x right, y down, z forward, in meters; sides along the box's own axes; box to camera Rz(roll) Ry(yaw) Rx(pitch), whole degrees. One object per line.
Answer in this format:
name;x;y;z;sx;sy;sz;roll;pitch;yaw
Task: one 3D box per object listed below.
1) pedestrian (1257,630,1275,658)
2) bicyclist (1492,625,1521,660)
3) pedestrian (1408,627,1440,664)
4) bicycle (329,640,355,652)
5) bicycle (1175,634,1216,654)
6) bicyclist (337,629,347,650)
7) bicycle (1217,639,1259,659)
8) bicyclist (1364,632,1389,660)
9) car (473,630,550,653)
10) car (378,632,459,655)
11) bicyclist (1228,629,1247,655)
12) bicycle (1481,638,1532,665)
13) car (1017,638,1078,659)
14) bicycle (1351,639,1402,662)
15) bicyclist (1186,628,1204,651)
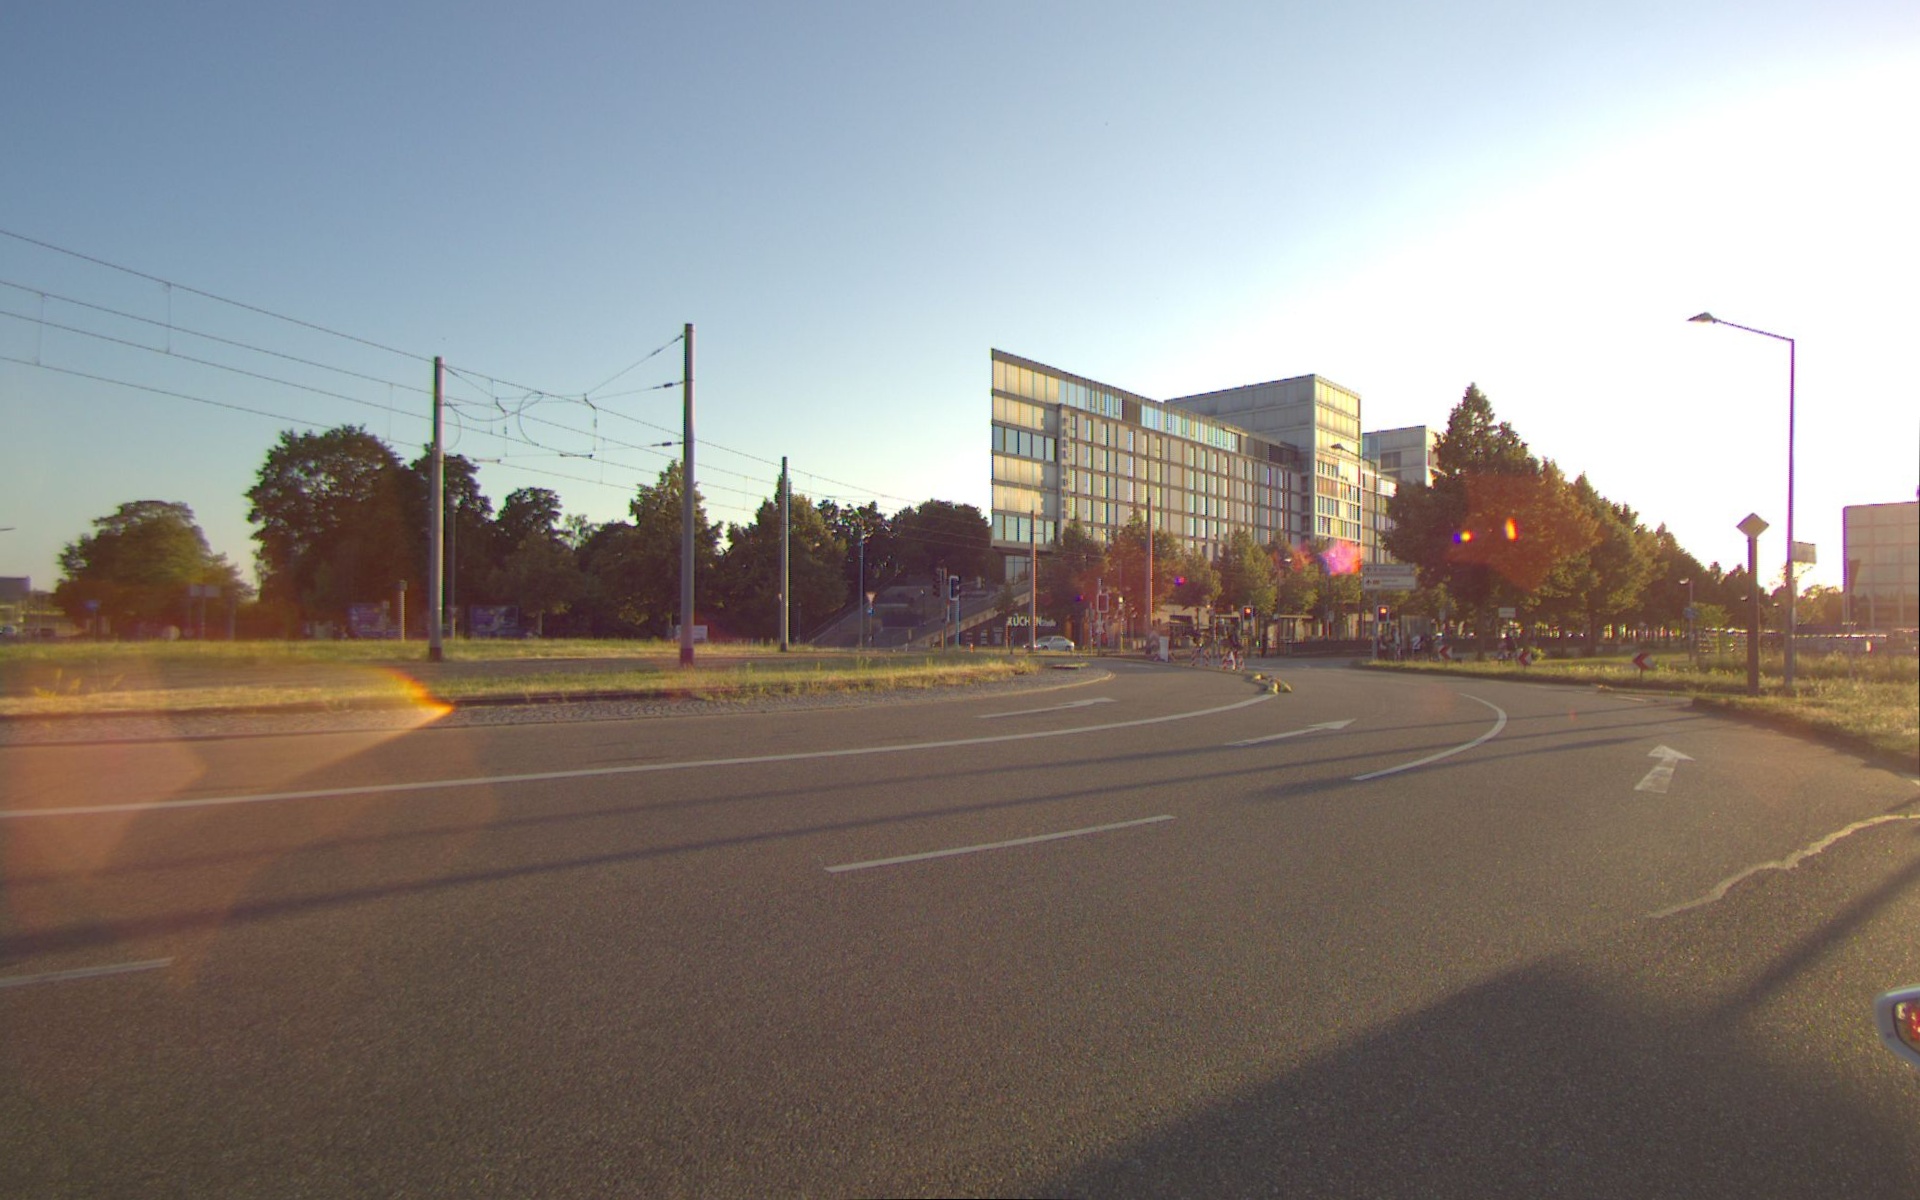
pedestrian;19.086;2.715;62.696;0.874;1.730;0.791;-1;-2;37
bicyclist;25.683;2.007;47.244;0.741;1.634;0.976;1;-1;-12
pedestrian;23.251;2.275;50.344;0.966;1.851;1.155;1;-1;-25
bicycle;-42.592;3.144;69.220;0.467;0.802;1.411;-1;-2;42
bicycle;14.609;2.722;62.344;2.369;1.182;0.752;-1;-2;35
bicyclist;-42.575;2.725;69.227;0.467;1.416;0.445;-1;-2;43
bicycle;16.837;2.966;60.841;2.367;1.182;0.753;-1;-2;31
bicyclist;21.822;2.407;52.654;0.749;1.412;0.966;2;-2;-43
car;-28.833;2.676;64.630;4.233;1.451;1.946;-1;-2;13
car;-35.524;2.830;65.945;4.502;1.451;1.946;-1;-2;13
bicyclist;16.829;2.526;60.878;0.961;1.545;0.753;0;-2;31
bicycle;25.693;2.401;47.257;0.741;1.182;2.404;1;-2;-12
car;6.955;3.831;79.395;1.973;1.565;5.169;-1;-2;45
bicycle;21.831;2.637;52.670;0.749;1.182;2.379;2;-2;-43
bicyclist;14.609;2.462;62.420;0.865;1.411;0.752;-1;-2;34
